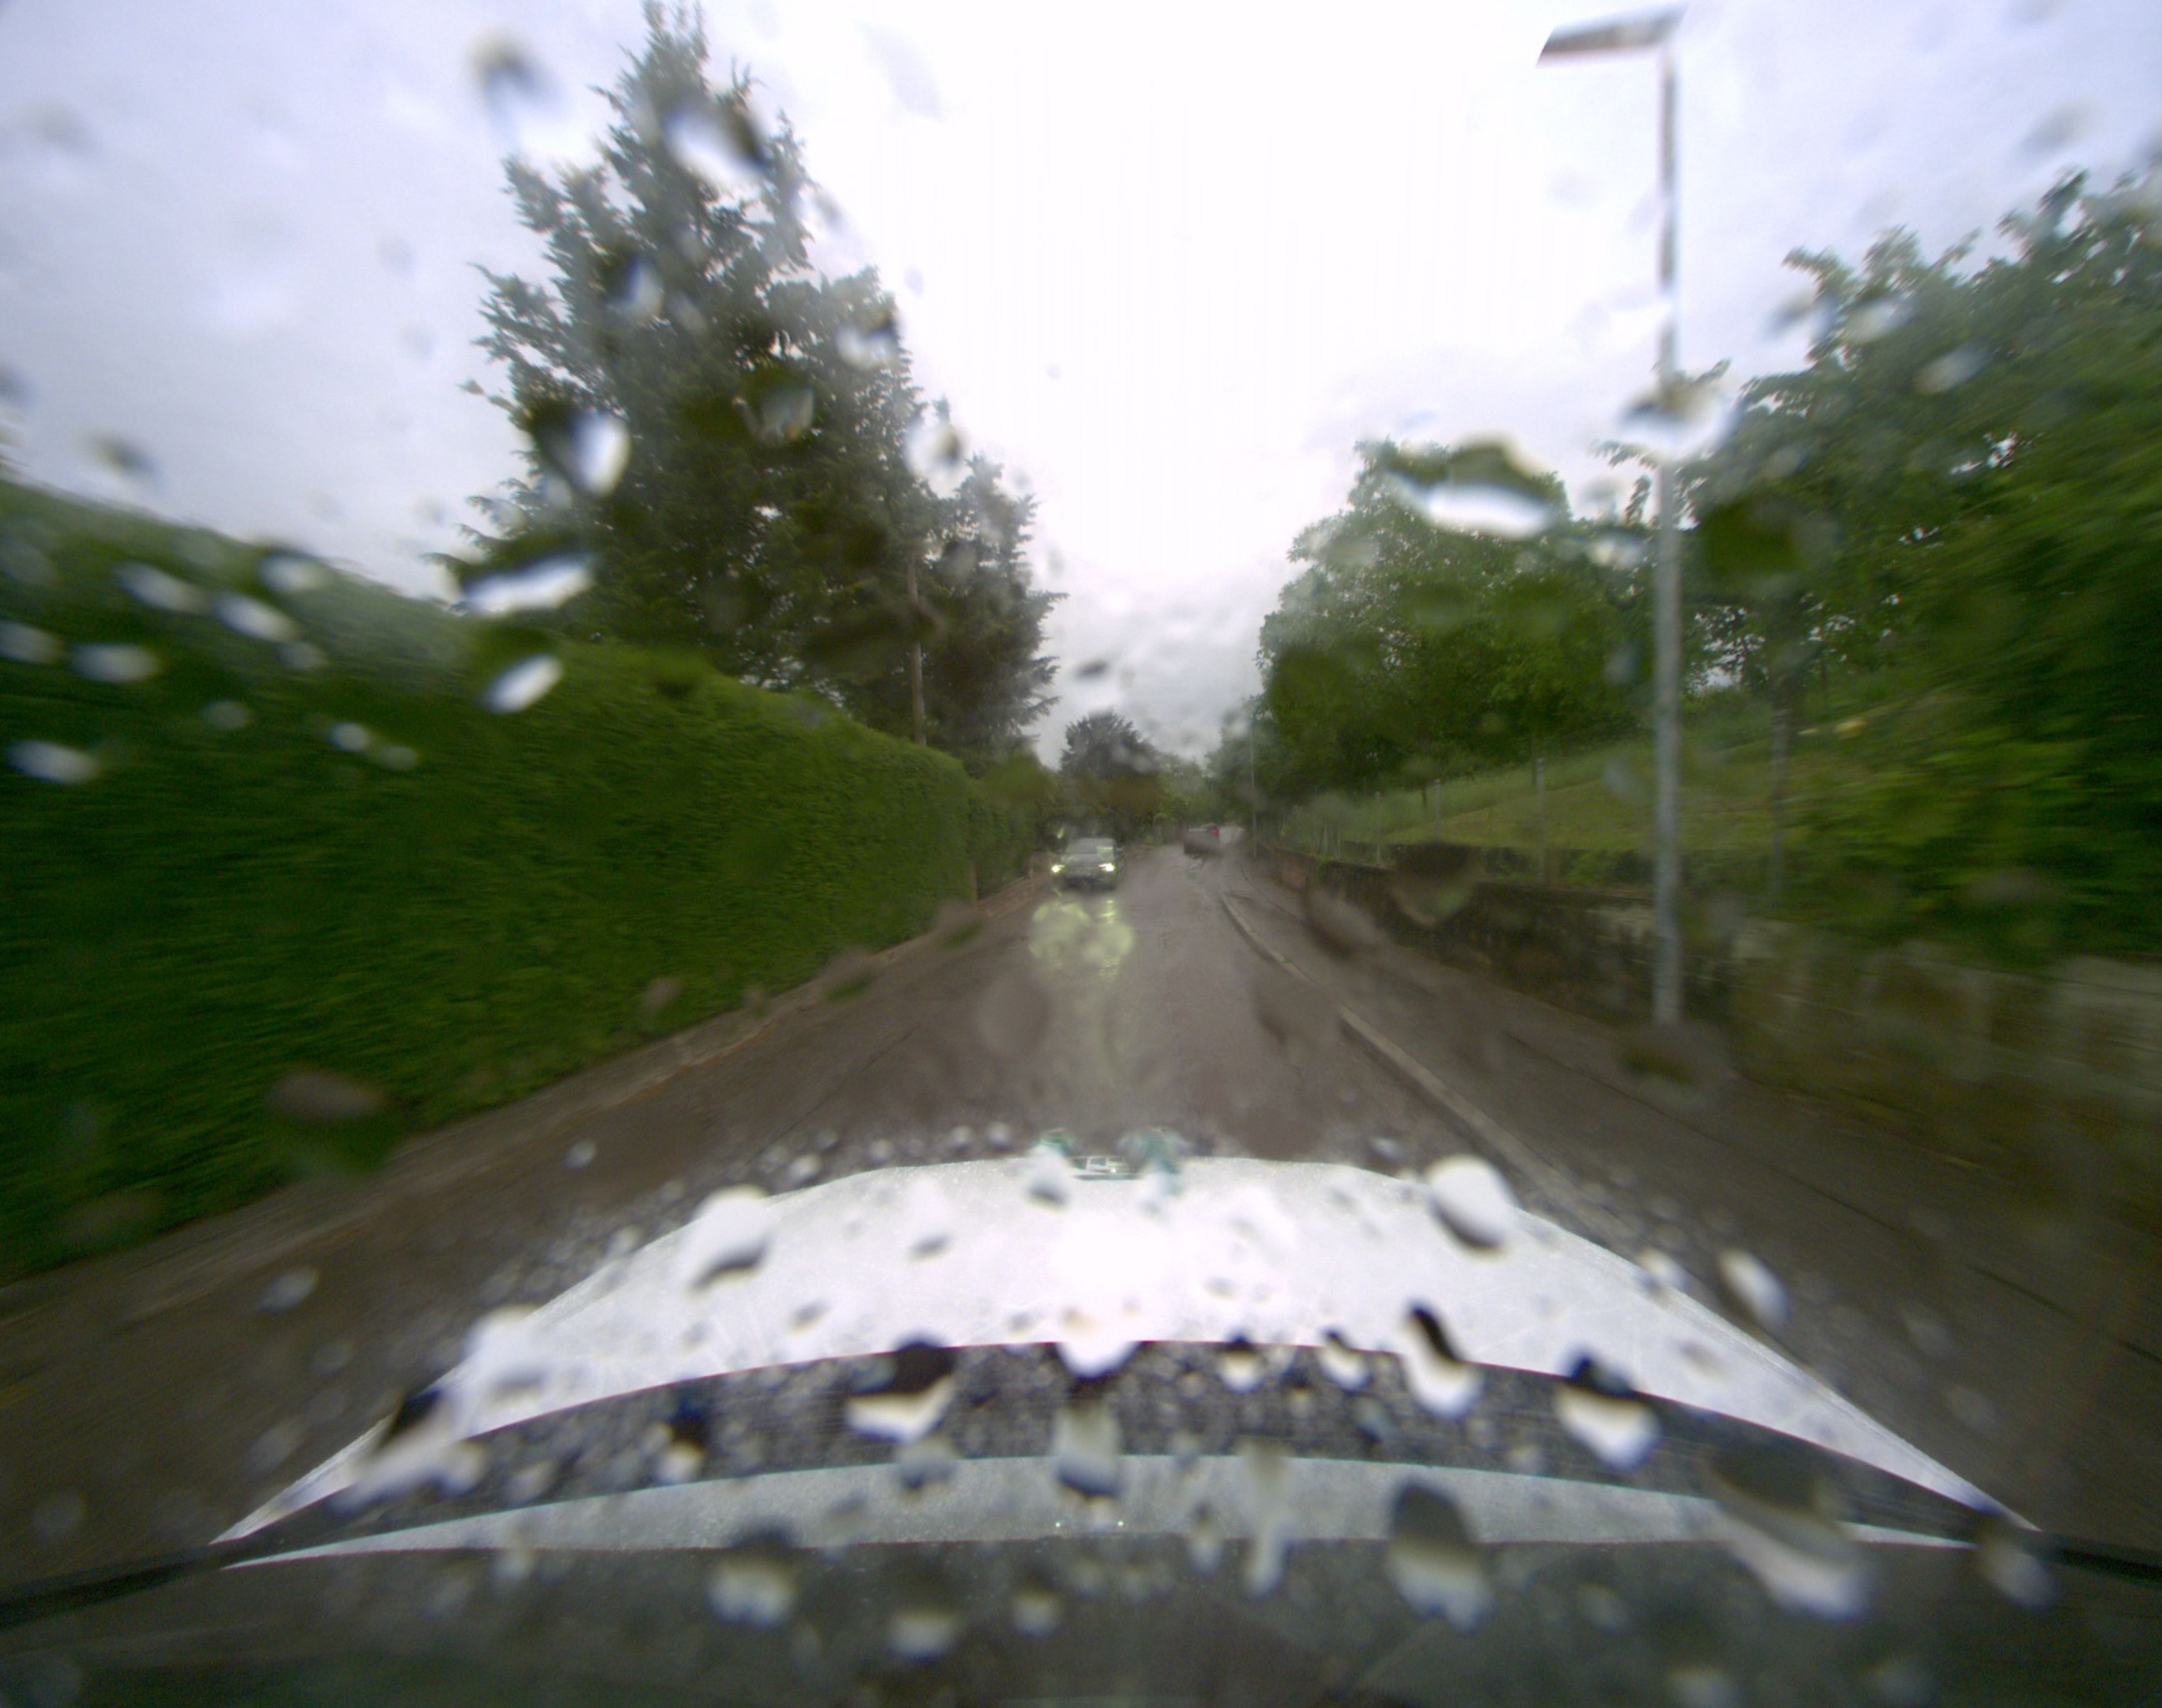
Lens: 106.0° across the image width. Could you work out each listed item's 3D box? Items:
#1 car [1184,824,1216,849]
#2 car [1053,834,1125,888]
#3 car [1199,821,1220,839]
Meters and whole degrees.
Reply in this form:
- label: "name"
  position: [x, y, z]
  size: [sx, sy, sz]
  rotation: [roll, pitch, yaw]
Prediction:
- label: "car"
  position: [7.248, -1.087, 49.399]
  size: [1.623, 1.450, 3.558]
  rotation: [0, 1, 13]
- label: "car"
  position: [0.343, 0.146, 25.493]
  size: [1.880, 1.523, 4.429]
  rotation: [0, 2, 5]
- label: "car"
  position: [10.701, -1.988, 67.632]
  size: [1.624, 1.414, 3.555]
  rotation: [0, 1, 10]
